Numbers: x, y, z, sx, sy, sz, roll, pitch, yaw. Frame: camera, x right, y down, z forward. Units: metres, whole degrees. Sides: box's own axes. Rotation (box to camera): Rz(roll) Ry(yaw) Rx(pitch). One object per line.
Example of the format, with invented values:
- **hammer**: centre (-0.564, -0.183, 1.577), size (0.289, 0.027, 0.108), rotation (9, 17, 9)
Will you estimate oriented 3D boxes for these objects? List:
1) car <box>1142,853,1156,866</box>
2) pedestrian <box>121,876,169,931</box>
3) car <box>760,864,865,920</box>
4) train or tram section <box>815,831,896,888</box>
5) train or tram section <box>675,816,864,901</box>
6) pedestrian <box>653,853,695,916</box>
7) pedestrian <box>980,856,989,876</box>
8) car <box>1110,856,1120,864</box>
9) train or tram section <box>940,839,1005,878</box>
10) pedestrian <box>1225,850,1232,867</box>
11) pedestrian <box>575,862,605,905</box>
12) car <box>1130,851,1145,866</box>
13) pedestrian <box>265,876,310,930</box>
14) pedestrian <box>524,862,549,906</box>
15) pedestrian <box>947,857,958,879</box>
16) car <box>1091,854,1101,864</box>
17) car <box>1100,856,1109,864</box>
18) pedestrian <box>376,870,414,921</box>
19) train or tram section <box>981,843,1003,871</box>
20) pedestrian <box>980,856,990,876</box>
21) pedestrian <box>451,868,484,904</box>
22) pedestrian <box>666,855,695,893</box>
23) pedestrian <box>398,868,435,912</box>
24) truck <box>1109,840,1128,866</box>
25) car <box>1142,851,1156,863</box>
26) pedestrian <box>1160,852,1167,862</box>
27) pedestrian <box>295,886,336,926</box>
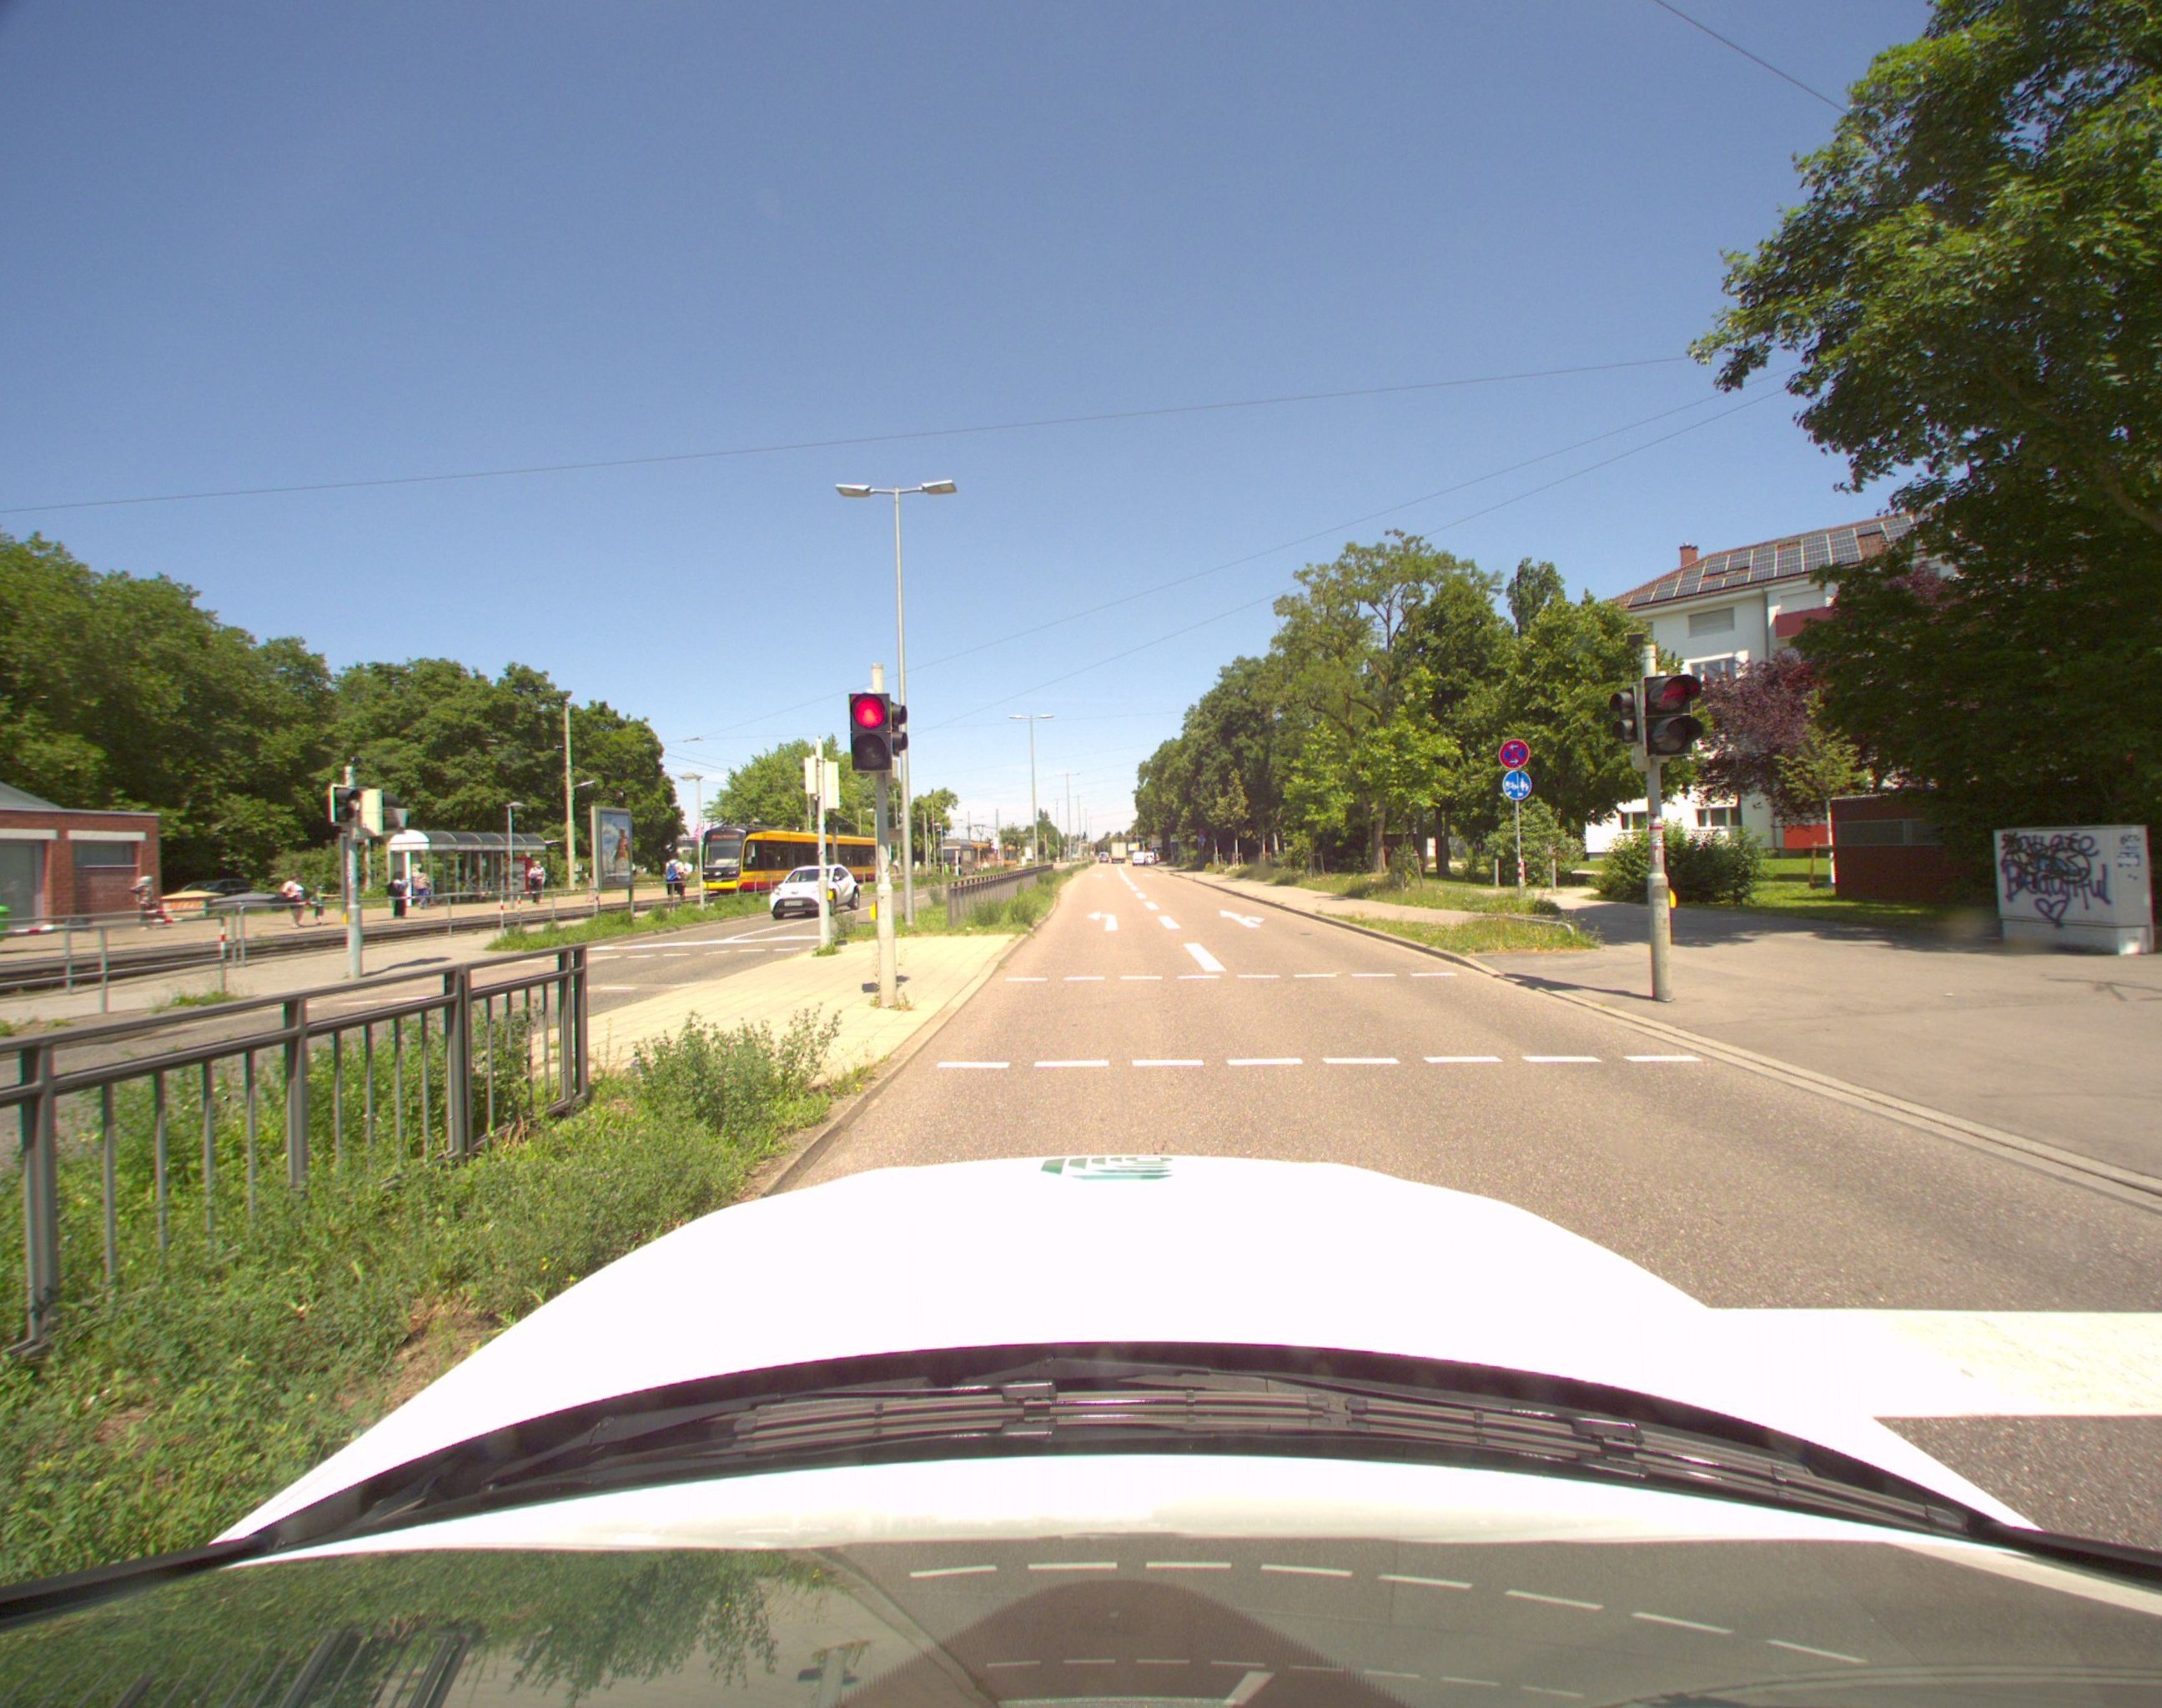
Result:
- **car**: centre (9.382, 0.727, 112.381), size (1.773, 1.668, 4.002), rotation (-2, 0, 2)
- **pedestrian**: centre (-25.905, 1.364, 22.541), size (0.636, 1.480, 0.570), rotation (-2, 0, 1)
- **car**: centre (-8.115, 1.091, 24.988), size (1.838, 1.494, 3.793), rotation (-2, 0, 2)
- **train or tram section**: centre (-17.795, 0.423, 66.012), size (3.212, 3.931, 18.459), rotation (-2, 0, -6)
- **train or tram section**: centre (-17.238, 0.233, 47.859), size (3.203, 3.931, 18.510), rotation (-2, 0, 2)
- **pedestrian**: centre (-11.966, 0.880, 23.970), size (0.715, 1.777, 0.843), rotation (3, 2, 1)
- **pedestrian**: centre (-10.132, 1.257, 85.366), size (0.812, 2.013, 0.939), rotation (-2, 0, 1)
- **car**: centre (6.481, 1.157, 153.690), size (1.804, 1.464, 4.002), rotation (-2, 0, 2)
- **train or tram section**: centre (-12.295, 0.455, 96.480), size (2.947, 3.749, 30.038), rotation (-2, 0, 1)
- **pedestrian**: centre (12.643, 0.370, 69.764), size (0.600, 1.438, 0.557), rotation (-2, 0, 8)
- **pedestrian**: centre (-21.214, 1.251, 35.184), size (0.715, 1.777, 0.843), rotation (3, 2, 1)
- **car**: centre (7.295, 0.570, 105.541), size (1.773, 1.903, 4.002), rotation (-2, 0, 2)
- **pedestrian**: centre (-22.133, 1.361, 22.725), size (0.636, 1.456, 0.583), rotation (-2, 0, 1)
- **pedestrian**: centre (-22.837, 1.255, 34.135), size (0.725, 1.800, 0.835), rotation (-1, -1, -41)
- **pedestrian**: centre (-10.980, 1.204, 69.729), size (0.783, 1.868, 0.818), rotation (-2, 0, 1)
- **car**: centre (3.319, 1.110, 175.333), size (1.986, 2.013, 4.002), rotation (-2, 0, 2)
- **car**: centre (4.552, 1.184, 158.007), size (1.804, 1.464, 4.002), rotation (-2, 0, 2)
- **pedestrian**: centre (-21.567, 1.283, 25.619), size (0.635, 1.555, 0.691), rotation (-2, 0, -11)
- **train or tram section**: centre (-13.787, 0.503, 127.655), size (2.927, 3.789, 33.019), rotation (-1, 0, -6)
- **pedestrian**: centre (-9.912, 1.245, 84.067), size (0.812, 2.013, 0.939), rotation (-2, 0, 1)
- **pedestrian**: centre (-26.281, 1.372, 34.895), size (0.836, 1.511, 0.723), rotation (-2, 0, 12)
- **pedestrian**: centre (-21.523, 1.079, 43.791), size (0.977, 2.013, 1.021), rotation (-2, 0, 1)
- **pedestrian**: centre (-25.087, 1.353, 30.754), size (0.669, 1.590, 0.808), rotation (-2, 0, 1)
- **truck**: centre (6.767, -0.158, 146.138), size (3.193, 4.359, 6.563), rotation (-2, 0, 2)
- **car**: centre (9.904, 0.470, 118.763), size (1.773, 1.668, 4.002), rotation (-2, 0, 2)
- **pedestrian**: centre (16.520, 0.578, 163.634), size (1.180, 2.013, 1.214), rotation (-2, 0, 1)
- **pedestrian**: centre (-22.283, 1.513, 23.720), size (0.636, 1.124, 0.570), rotation (-2, 0, 1)
